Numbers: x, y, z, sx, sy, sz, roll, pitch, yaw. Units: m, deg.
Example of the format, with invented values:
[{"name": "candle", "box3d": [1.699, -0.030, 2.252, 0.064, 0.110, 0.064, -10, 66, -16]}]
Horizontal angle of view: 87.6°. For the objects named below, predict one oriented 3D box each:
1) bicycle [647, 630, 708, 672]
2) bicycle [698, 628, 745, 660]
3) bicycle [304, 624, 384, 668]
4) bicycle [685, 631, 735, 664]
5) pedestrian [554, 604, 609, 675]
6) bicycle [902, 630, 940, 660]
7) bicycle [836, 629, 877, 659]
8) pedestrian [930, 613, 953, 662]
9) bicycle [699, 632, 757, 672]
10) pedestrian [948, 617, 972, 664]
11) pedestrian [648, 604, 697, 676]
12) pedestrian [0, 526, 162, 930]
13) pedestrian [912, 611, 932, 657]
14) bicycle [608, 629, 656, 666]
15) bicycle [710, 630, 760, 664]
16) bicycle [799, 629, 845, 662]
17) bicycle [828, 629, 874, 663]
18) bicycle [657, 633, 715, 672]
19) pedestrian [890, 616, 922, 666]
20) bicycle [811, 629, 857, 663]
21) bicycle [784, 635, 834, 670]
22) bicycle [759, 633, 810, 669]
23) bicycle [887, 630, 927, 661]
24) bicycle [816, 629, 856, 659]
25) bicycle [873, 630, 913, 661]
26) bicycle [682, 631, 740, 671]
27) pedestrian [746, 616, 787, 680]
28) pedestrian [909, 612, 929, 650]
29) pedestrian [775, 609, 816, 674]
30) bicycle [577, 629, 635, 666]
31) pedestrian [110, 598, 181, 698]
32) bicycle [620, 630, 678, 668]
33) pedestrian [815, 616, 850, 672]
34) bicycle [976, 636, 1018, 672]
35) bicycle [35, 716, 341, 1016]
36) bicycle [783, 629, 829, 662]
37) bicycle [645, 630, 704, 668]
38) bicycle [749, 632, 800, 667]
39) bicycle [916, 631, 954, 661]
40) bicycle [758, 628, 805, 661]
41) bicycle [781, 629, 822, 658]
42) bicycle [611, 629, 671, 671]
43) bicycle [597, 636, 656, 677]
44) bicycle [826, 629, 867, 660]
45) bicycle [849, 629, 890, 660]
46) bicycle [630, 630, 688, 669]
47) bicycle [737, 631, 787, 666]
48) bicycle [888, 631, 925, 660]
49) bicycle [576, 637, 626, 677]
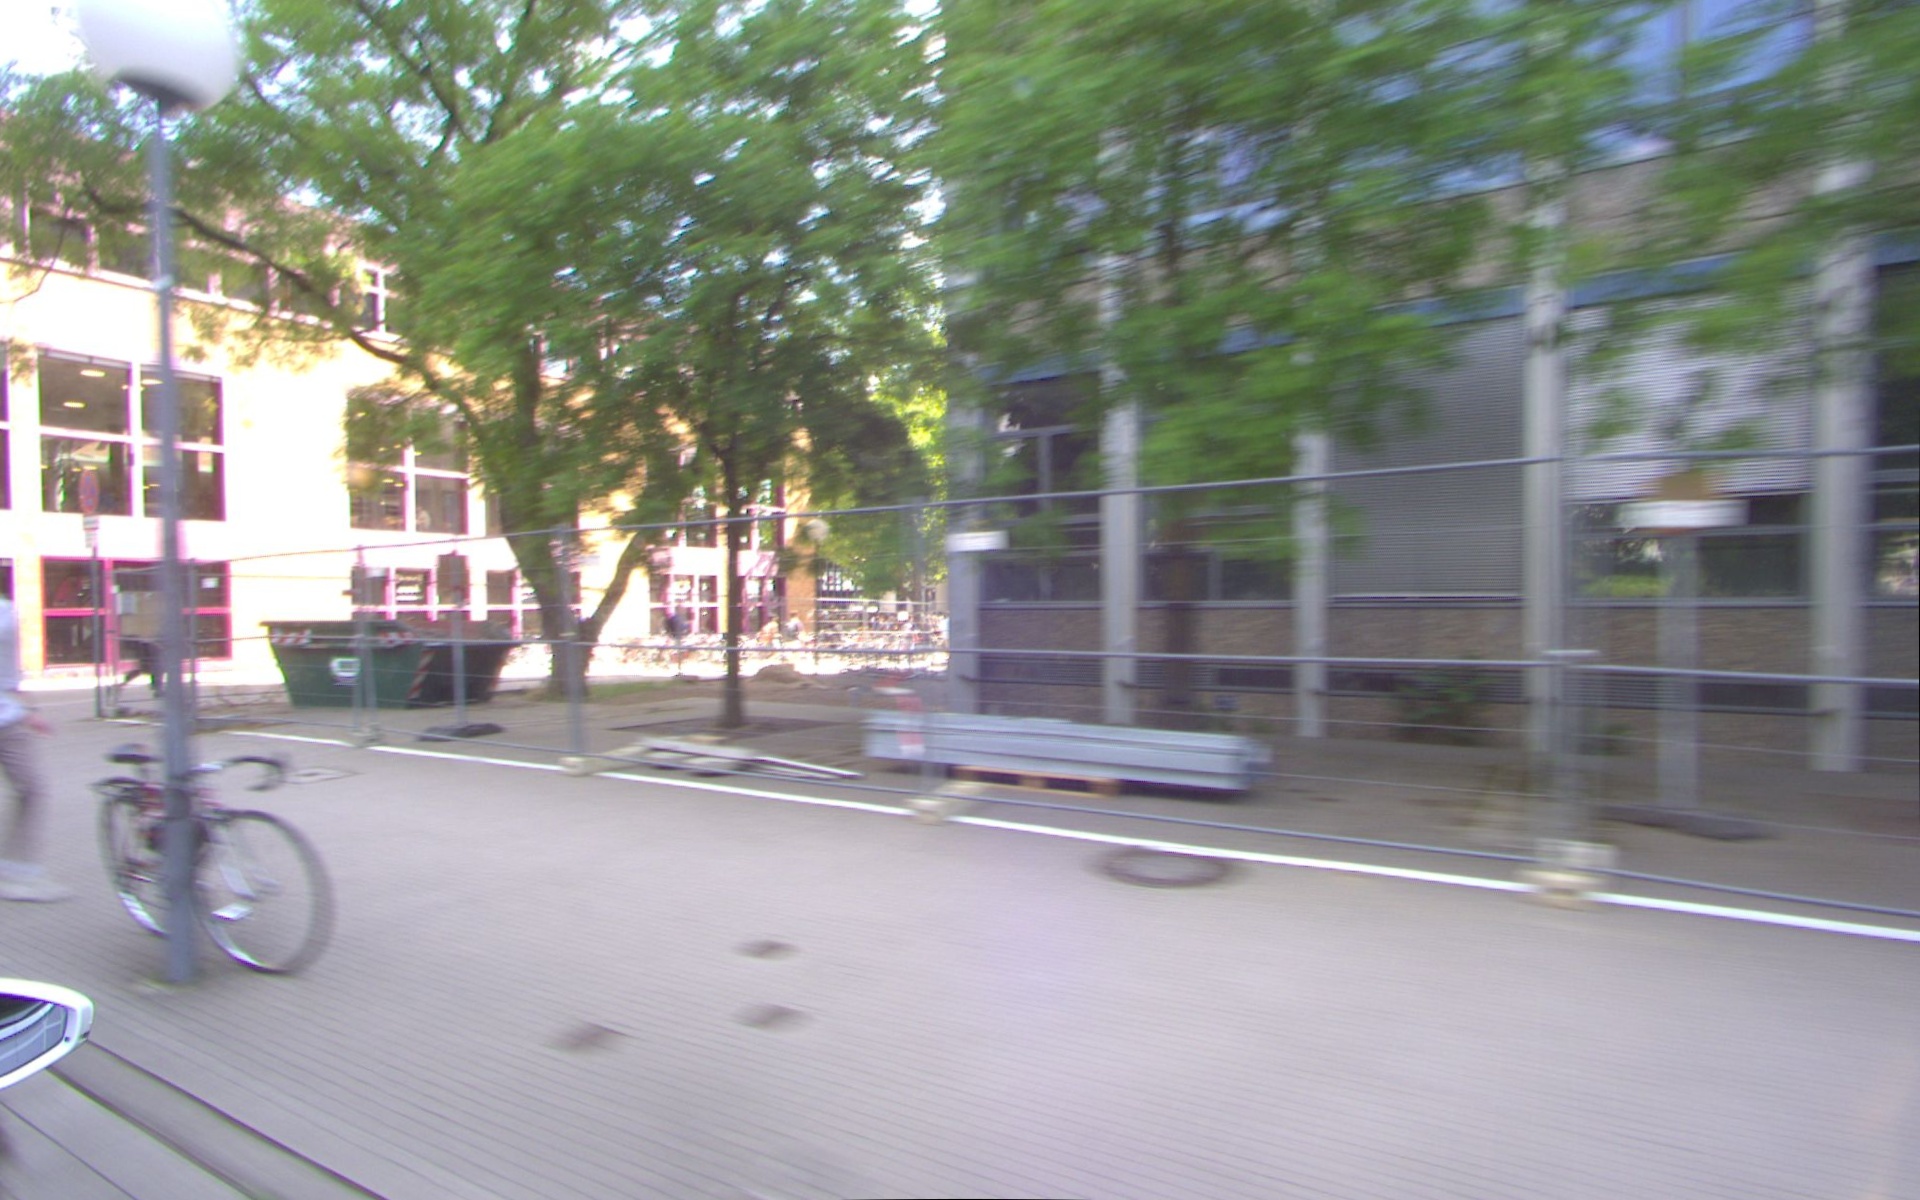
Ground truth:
[{"name": "bicycle", "box3d": [-8.168, 1.470, 28.986, 0.468, 1.184, 1.802, 0, -2, 35]}, {"name": "bicycle", "box3d": [-9.301, 1.715, 39.135, 0.537, 1.184, 1.994, 0, -2, 30]}, {"name": "bicycle", "box3d": [-16.432, 1.218, 26.752, 0.516, 1.124, 1.808, 0, -2, 30]}, {"name": "bicycle", "box3d": [-9.075, 1.730, 36.443, 0.537, 1.184, 1.994, 0, -2, 30]}, {"name": "pedestrian", "box3d": [-9.202, 0.958, 24.356, 0.695, 1.672, 1.040, -1, -1, 39]}, {"name": "bicycle", "box3d": [-1.595, 1.862, 41.296, 0.537, 1.184, 1.994, 0, -2, 30]}, {"name": "bicycle", "box3d": [-4.119, 1.764, 40.113, 0.537, 1.184, 1.994, 0, -2, 30]}, {"name": "pedestrian", "box3d": [-0.731, 1.439, 38.832, 0.672, 1.846, 0.904, -2, -1, 9]}, {"name": "bicycle", "box3d": [-7.088, 1.572, 30.686, 0.467, 1.184, 1.994, 0, -2, 30]}, {"name": "pedestrian", "box3d": [0.001, 1.537, 38.006, 0.672, 1.750, 0.904, -2, -1, 13]}, {"name": "pedestrian", "box3d": [-7.162, 0.996, 24.975, 0.674, 1.750, 0.901, -3, -1, 27]}, {"name": "pedestrian", "box3d": [-4.920, 0.600, 5.092, 1.096, 1.869, 0.786, 0, -1, 7]}, {"name": "pedestrian", "box3d": [-1.478, 1.315, 38.943, 0.671, 1.750, 0.905, 0, -1, 6]}, {"name": "bicycle", "box3d": [-10.666, 1.541, 32.639, 0.465, 1.184, 2.001, 0, -2, 15]}, {"name": "bicycle", "box3d": [-8.062, 1.696, 35.941, 0.537, 1.184, 1.994, 0, -2, 30]}, {"name": "bicycle", "box3d": [-5.044, 1.668, 36.798, 0.537, 1.184, 1.994, 0, -2, 30]}, {"name": "bicycle", "box3d": [-3.925, 1.668, 36.222, 0.537, 1.184, 1.994, 0, -2, 30]}, {"name": "bicycle", "box3d": [-8.575, 1.641, 31.448, 0.467, 1.184, 1.994, 0, -2, 30]}, {"name": "pedestrian", "box3d": [-1.978, 1.492, 36.550, 0.677, 1.750, 0.897, -3, -1, 40]}, {"name": "bicycle", "box3d": [-4.574, 1.671, 36.477, 0.537, 1.184, 1.994, 0, -2, 30]}, {"name": "bicycle", "box3d": [-5.151, 1.791, 34.278, 0.537, 1.184, 1.994, 0, -2, 30]}, {"name": "bicycle", "box3d": [-5.993, 1.731, 34.279, 0.537, 1.184, 1.994, 0, -2, 30]}, {"name": "bicycle", "box3d": [-2.040, 1.766, 38.772, 0.537, 1.184, 1.994, 0, -2, 30]}, {"name": "bicycle", "box3d": [-5.033, 1.780, 40.799, 0.537, 1.184, 1.994, 0, -2, 30]}, {"name": "bicycle", "box3d": [-2.599, 1.772, 39.291, 0.537, 1.184, 1.994, 0, -2, 30]}, {"name": "bicycle", "box3d": [-7.673, 1.567, 30.887, 0.467, 1.184, 1.994, 0, -2, 30]}, {"name": "pedestrian", "box3d": [-5.412, 1.331, 28.053, 0.674, 1.750, 0.901, -3, -1, 27]}, {"name": "pedestrian", "box3d": [-2.035, 1.537, 49.655, 0.672, 1.846, 0.904, -3, -1, 16]}, {"name": "pedestrian", "box3d": [-4.553, 1.145, 27.707, 0.674, 1.750, 0.901, -3, -1, 27]}, {"name": "bicycle", "box3d": [-11.716, 1.574, 33.191, 0.467, 1.184, 1.994, 0, -2, 30]}, {"name": "pedestrian", "box3d": [-14.009, 0.816, 17.227, 0.581, 1.672, 0.849, -1, -1, 39]}, {"name": "bicycle", "box3d": [-10.004, 1.577, 32.295, 0.467, 1.184, 1.994, 0, -2, 30]}, {"name": "pedestrian", "box3d": [-4.126, 1.418, 32.318, 0.674, 1.750, 0.901, -3, -1, 27]}, {"name": "bicycle", "box3d": [1.260, 1.812, 33.892, 0.537, 1.184, 1.994, 0, -2, 30]}, {"name": "bicycle", "box3d": [-3.275, 1.026, 4.198, 1.706, 0.948, 0.395, -1, 2, 31]}, {"name": "bicycle", "box3d": [-5.727, 1.685, 37.266, 0.537, 1.184, 1.994, 0, -2, 30]}, {"name": "bicycle", "box3d": [-9.043, 1.554, 31.789, 0.467, 1.184, 1.994, 0, -2, 30]}, {"name": "bicycle", "box3d": [-6.420, 1.711, 34.719, 0.537, 1.184, 1.994, 0, -2, 30]}, {"name": "bicycle", "box3d": [-1.005, 1.863, 40.836, 0.537, 1.184, 1.994, 0, -2, 30]}, {"name": "bicycle", "box3d": [-6.685, 1.677, 37.612, 0.537, 1.184, 1.994, 0, -2, 30]}, {"name": "bicycle", "box3d": [-6.573, 1.815, 41.640, 0.537, 1.184, 1.994, 0, -2, 30]}, {"name": "bicycle", "box3d": [-9.299, 1.463, 29.254, 0.467, 1.184, 1.803, 0, -2, 32]}, {"name": "bicycle", "box3d": [-9.840, 1.661, 29.586, 0.467, 1.184, 1.805, 0, -2, 29]}, {"name": "bicycle", "box3d": [-4.562, 1.793, 40.442, 0.537, 1.184, 1.994, 0, -2, 30]}, {"name": "bicycle", "box3d": [-3.577, 1.773, 39.626, 0.537, 1.184, 1.994, 0, -2, 30]}, {"name": "bicycle", "box3d": [-9.570, 1.570, 31.921, 0.467, 1.184, 1.994, 0, -2, 30]}, {"name": "bicycle", "box3d": [-6.990, 1.705, 35.373, 0.537, 1.184, 1.994, 0, -2, 30]}, {"name": "bicycle", "box3d": [-2.216, 1.877, 41.644, 0.537, 1.184, 1.994, 0, -2, 30]}, {"name": "bicycle", "box3d": [-10.892, 1.722, 30.447, 0.465, 1.184, 1.811, 0, -2, 15]}]
